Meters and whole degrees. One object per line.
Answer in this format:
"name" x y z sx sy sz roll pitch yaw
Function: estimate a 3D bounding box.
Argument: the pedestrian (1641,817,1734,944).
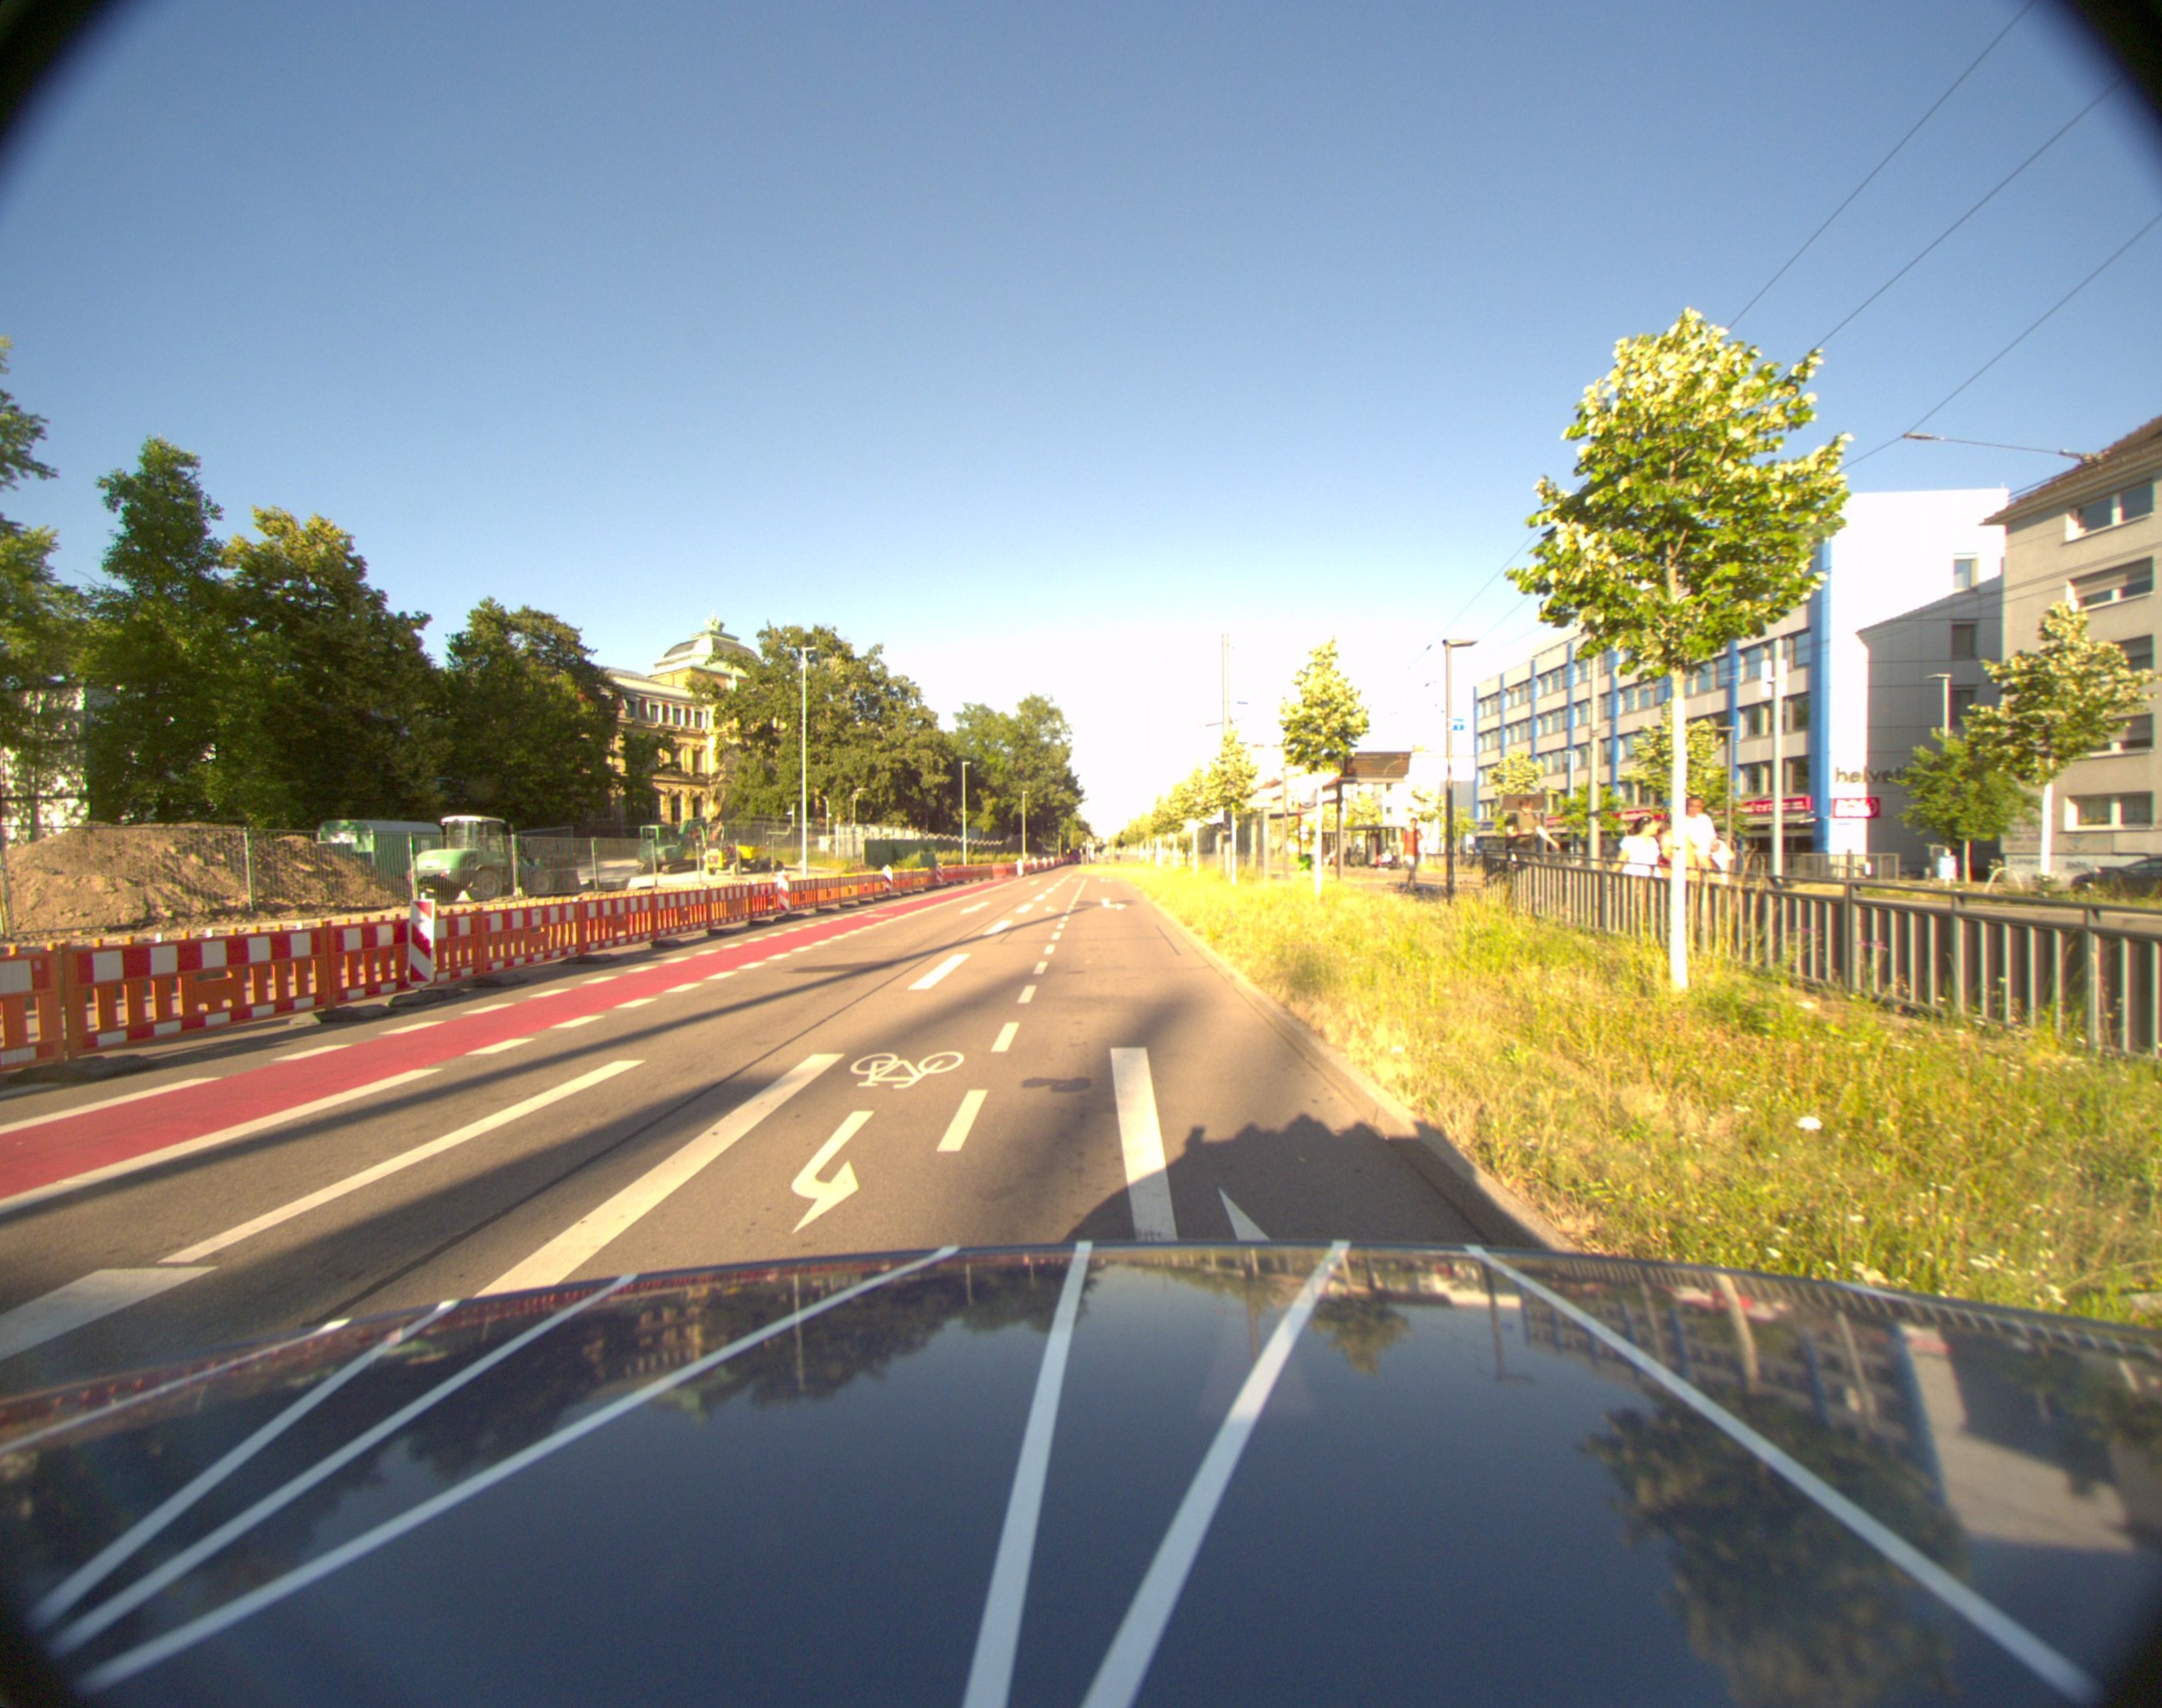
"pedestrian" 7.099 0.299 8.912 0.638 1.423 0.524 -2 1 -2

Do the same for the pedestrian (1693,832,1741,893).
"pedestrian" 17.817 0.243 21.305 0.787 1.663 0.619 -2 1 4

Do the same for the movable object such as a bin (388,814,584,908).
"movable object such as a bin" -19.047 0.170 24.725 1.998 2.668 5.015 -2 1 5

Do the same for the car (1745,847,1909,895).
"car" 25.965 0.527 26.657 1.886 1.499 3.942 -2 1 1

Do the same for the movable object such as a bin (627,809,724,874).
"movable object such as a bin" -22.429 -0.688 42.313 1.998 3.310 5.376 -2 1 5

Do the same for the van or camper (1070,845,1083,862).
"van or camper" -0.710 -0.118 124.972 1.998 2.514 5.913 -2 1 1

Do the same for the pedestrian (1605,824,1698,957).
"pedestrian" 6.484 0.397 8.658 0.638 1.447 0.524 -2 1 -3

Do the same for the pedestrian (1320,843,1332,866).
"pedestrian" 18.663 0.045 57.851 0.659 1.682 0.772 -2 1 4

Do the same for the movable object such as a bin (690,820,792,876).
"movable object such as a bin" -18.649 -0.351 42.078 1.997 2.800 5.871 -2 1 11

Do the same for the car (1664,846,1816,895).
"car" 22.816 0.516 26.530 1.886 1.499 3.942 -2 1 1

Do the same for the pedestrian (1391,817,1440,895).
"pedestrian" 7.506 0.039 17.067 0.787 1.689 0.619 -2 1 4

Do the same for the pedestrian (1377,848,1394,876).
"pedestrian" 18.266 0.470 45.605 0.660 1.682 0.772 -2 1 -1

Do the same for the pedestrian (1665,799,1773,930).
"pedestrian" 7.863 0.127 9.396 0.787 1.540 0.619 -2 1 4

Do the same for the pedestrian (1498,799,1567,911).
"pedestrian" 7.748 0.016 13.061 0.787 1.853 0.619 -2 1 4

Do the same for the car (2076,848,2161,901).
"car" 33.136 0.622 22.747 1.886 1.499 3.674 -2 1 1

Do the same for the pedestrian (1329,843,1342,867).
"pedestrian" 18.602 0.073 55.547 0.659 1.682 0.772 -2 1 7
